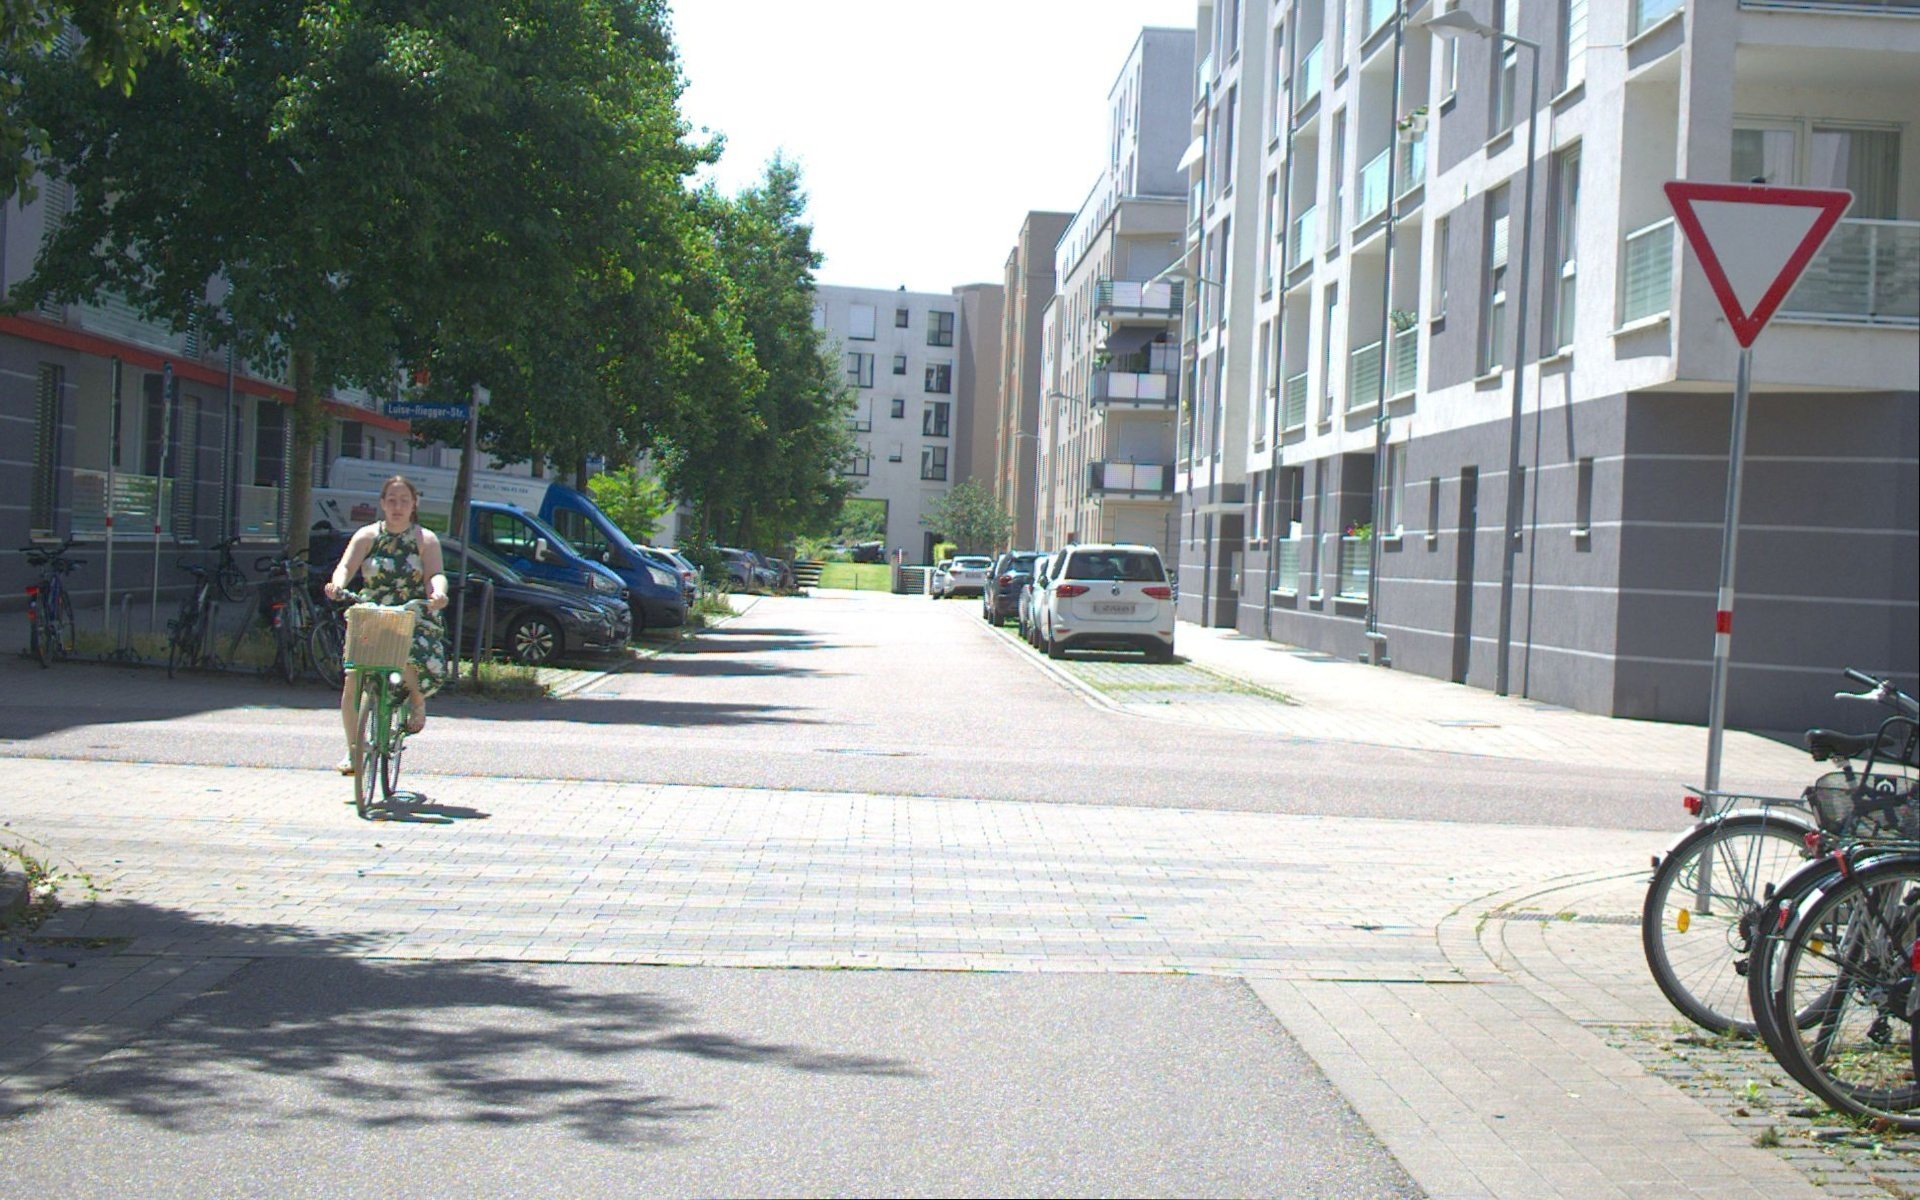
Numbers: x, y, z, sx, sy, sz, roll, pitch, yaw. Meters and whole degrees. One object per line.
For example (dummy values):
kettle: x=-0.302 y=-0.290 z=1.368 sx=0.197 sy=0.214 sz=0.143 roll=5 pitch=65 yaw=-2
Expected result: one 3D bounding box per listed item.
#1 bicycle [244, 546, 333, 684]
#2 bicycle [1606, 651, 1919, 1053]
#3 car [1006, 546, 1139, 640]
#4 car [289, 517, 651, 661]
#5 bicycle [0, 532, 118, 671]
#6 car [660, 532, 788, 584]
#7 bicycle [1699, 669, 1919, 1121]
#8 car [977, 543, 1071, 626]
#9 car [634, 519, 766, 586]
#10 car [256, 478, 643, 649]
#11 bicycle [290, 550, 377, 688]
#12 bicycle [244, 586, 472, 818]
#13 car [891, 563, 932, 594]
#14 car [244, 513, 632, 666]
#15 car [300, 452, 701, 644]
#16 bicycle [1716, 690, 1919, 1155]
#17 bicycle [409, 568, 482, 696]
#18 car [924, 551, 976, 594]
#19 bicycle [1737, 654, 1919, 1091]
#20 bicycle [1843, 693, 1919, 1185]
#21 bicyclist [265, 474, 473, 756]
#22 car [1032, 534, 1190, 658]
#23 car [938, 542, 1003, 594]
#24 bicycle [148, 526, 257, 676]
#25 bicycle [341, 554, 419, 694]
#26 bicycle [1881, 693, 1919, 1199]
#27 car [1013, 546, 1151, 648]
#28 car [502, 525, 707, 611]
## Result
bicycle: x=-6.318 y=0.124 z=32.394 sx=0.518 sy=1.200 sz=1.752 roll=4 pitch=2 yaw=-3
bicycle: x=3.040 y=0.788 z=10.831 sx=1.859 sy=1.189 sz=0.687 roll=1 pitch=1 yaw=2
car: x=1.932 y=-0.146 z=60.095 sx=1.993 sy=1.519 sz=4.001 roll=2 pitch=1 yaw=-2
car: x=-6.341 y=-0.152 z=44.806 sx=4.383 sy=1.536 sz=1.878 roll=4 pitch=1 yaw=-1
bicycle: x=-8.476 y=-0.011 z=31.988 sx=0.689 sy=1.166 sz=2.223 roll=5 pitch=2 yaw=-1
car: x=-7.965 y=-1.423 z=116.077 sx=3.988 sy=1.597 sz=2.000 roll=2 pitch=1 yaw=5
bicycle: x=3.049 y=0.813 z=9.439 sx=1.924 sy=1.175 sz=0.638 roll=1 pitch=1 yaw=8
car: x=1.328 y=-0.329 z=69.667 sx=1.757 sy=1.547 sz=4.000 roll=3 pitch=1 yaw=2
car: x=-8.585 y=-1.573 z=113.682 sx=3.988 sy=2.007 sz=2.000 roll=2 pitch=1 yaw=5
car: x=-7.269 y=-0.536 z=49.424 sx=5.145 sy=2.112 sz=2.312 roll=3 pitch=1 yaw=-1
bicycle: x=-5.848 y=0.158 z=32.147 sx=0.434 sy=1.200 sz=1.700 roll=4 pitch=2 yaw=-1
bicycle: x=-3.227 y=0.517 z=18.613 sx=0.898 sy=1.125 sz=2.040 roll=2 pitch=1 yaw=-2
car: x=-2.528 y=-1.128 z=180.730 sx=1.993 sy=1.514 sz=4.000 roll=2 pitch=1 yaw=1
car: x=-6.355 y=-0.142 z=42.254 sx=4.383 sy=1.509 sz=2.075 roll=4 pitch=1 yaw=-1
car: x=-7.253 y=-0.825 z=54.853 sx=6.023 sy=2.806 sz=2.605 roll=2 pitch=1 yaw=-1
bicycle: x=2.963 y=0.835 z=8.833 sx=1.924 sy=1.129 sz=0.609 roll=1 pitch=1 yaw=8
bicycle: x=-4.832 y=0.281 z=32.376 sx=0.466 sy=1.138 sz=1.926 roll=2 pitch=1 yaw=-3
car: x=-0.426 y=-1.170 z=145.434 sx=1.993 sy=1.711 sz=4.001 roll=2 pitch=1 yaw=-2
bicycle: x=3.165 y=0.792 z=10.123 sx=1.550 sy=1.213 sz=0.708 roll=1 pitch=1 yaw=-3
bicycle: x=3.106 y=0.819 z=8.469 sx=1.833 sy=1.144 sz=0.461 roll=1 pitch=1 yaw=-20
bicyclist: x=-3.182 y=0.072 z=18.580 sx=0.953 sy=1.454 sz=0.800 roll=2 pitch=1 yaw=-2
car: x=2.132 y=-0.090 z=49.566 sx=1.997 sy=1.651 sz=4.115 roll=2 pitch=1 yaw=-1
car: x=0.343 y=-1.128 z=118.210 sx=1.993 sy=1.669 sz=4.001 roll=2 pitch=1 yaw=-2
bicycle: x=-7.075 y=-0.010 z=32.173 sx=0.593 sy=1.327 sz=1.812 roll=2 pitch=2 yaw=0
bicycle: x=-5.416 y=0.207 z=32.148 sx=0.570 sy=1.170 sz=1.769 roll=5 pitch=2 yaw=-8
bicycle: x=3.131 y=0.845 z=7.886 sx=1.923 sy=1.213 sz=0.461 roll=1 pitch=1 yaw=-10
car: x=1.923 y=-0.072 z=55.266 sx=1.993 sy=1.519 sz=4.000 roll=2 pitch=1 yaw=-1
car: x=-7.424 y=-0.679 z=72.061 sx=3.987 sy=1.612 sz=2.000 roll=2 pitch=1 yaw=1
